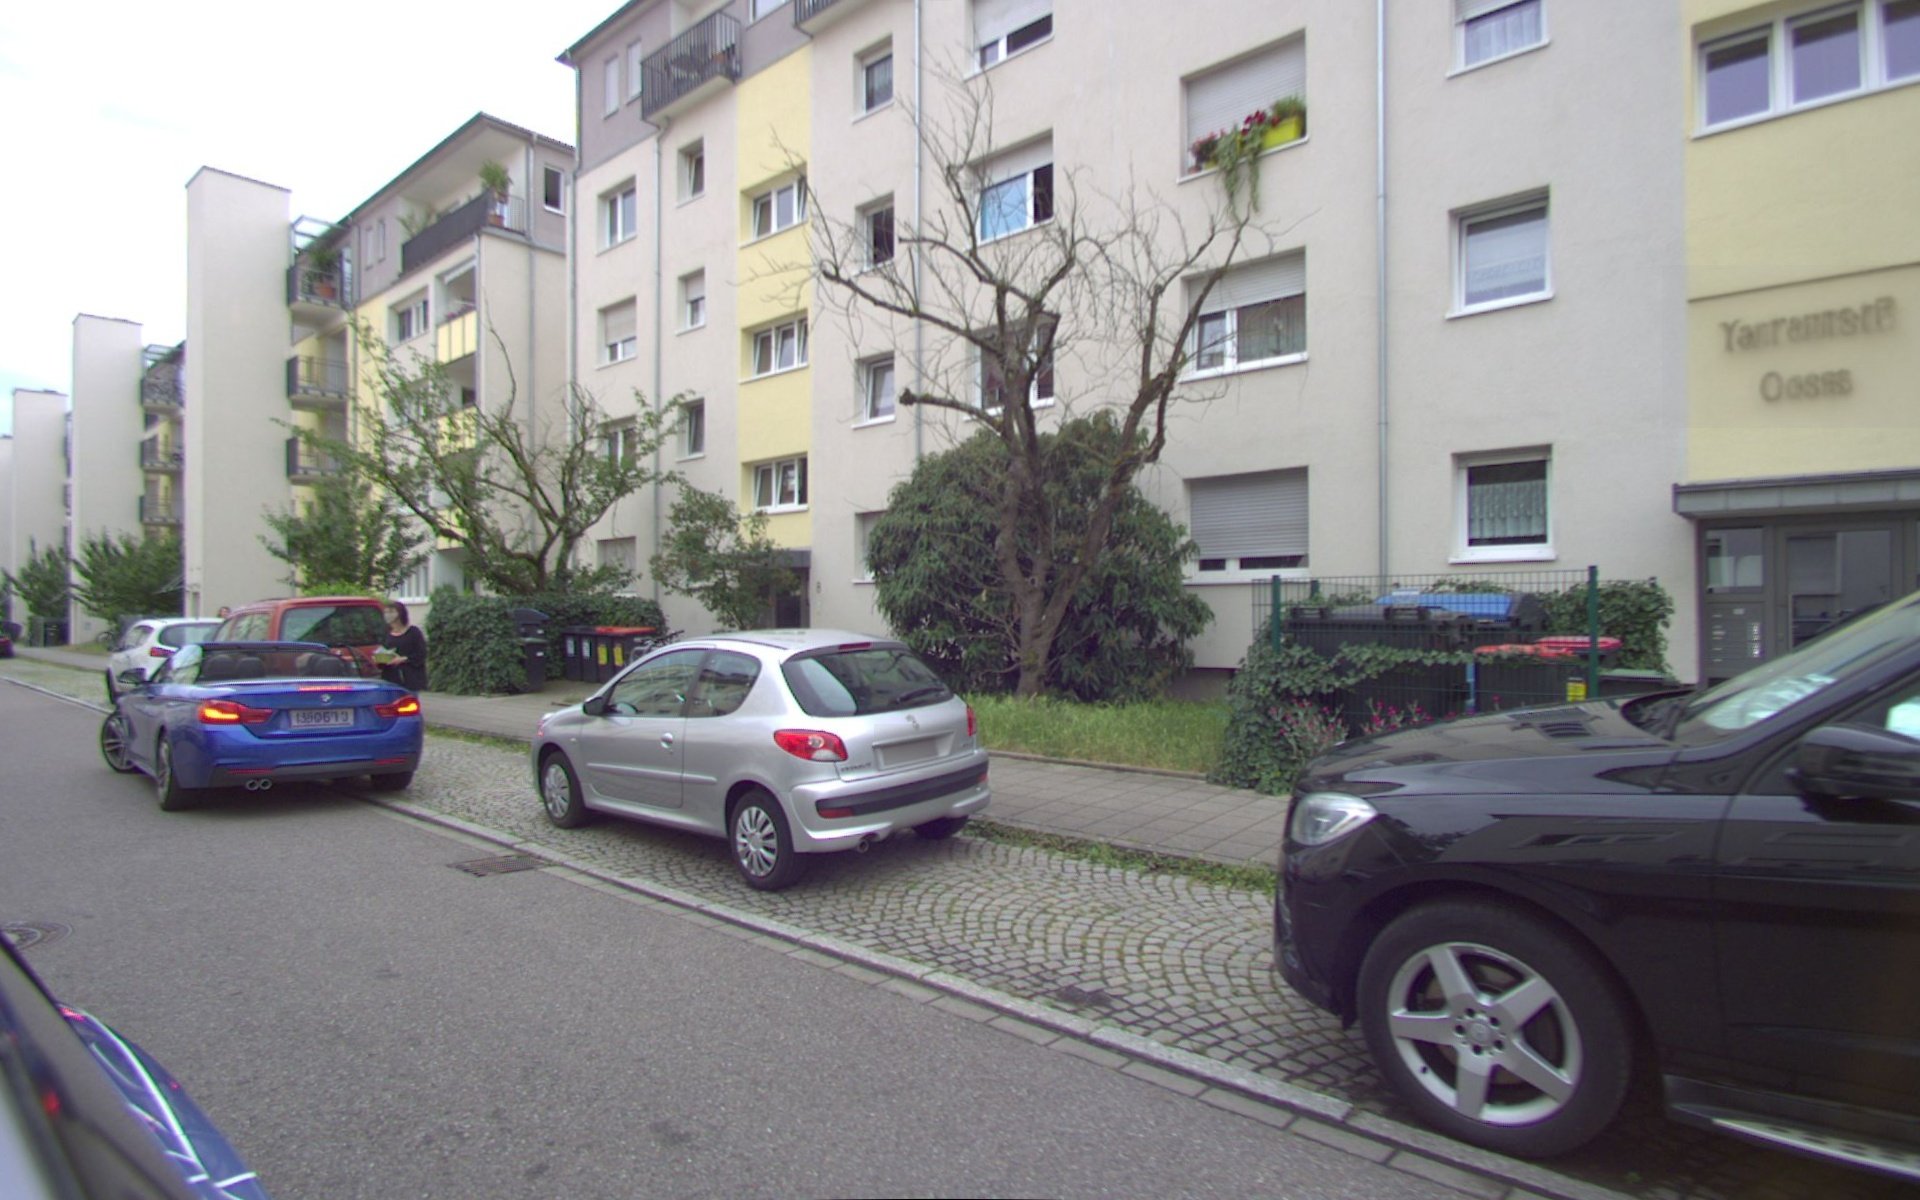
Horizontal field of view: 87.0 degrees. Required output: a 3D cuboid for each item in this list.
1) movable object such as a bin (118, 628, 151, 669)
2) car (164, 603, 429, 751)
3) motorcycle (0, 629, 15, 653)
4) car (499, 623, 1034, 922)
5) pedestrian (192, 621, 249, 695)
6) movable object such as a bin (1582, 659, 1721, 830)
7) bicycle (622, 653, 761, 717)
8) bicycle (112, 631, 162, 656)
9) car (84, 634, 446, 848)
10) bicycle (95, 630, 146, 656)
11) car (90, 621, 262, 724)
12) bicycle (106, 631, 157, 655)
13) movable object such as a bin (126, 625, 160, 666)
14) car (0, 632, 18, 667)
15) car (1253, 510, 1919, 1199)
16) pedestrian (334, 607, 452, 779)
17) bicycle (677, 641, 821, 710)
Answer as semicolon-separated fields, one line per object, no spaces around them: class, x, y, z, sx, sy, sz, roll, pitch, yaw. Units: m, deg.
movable object such as a bin;-30.271;1.765;37.107;1.288;1.440;0.794;-2;-1;44
car;-9.557;0.984;14.445;4.357;1.784;1.937;-2;-1;39
motorcycle;-55.271;2.361;58.380;2.419;1.317;0.860;-2;-1;42
car;-1.517;0.942;7.119;3.784;1.476;1.726;-2;0;41
pedestrian;-16.597;1.281;22.717;0.945;1.622;0.792;-2;-2;37
movable object such as a bin;4.269;0.854;6.249;0.635;0.962;0.545;-2;-3;41
bicycle;-4.133;1.263;15.409;2.754;0.854;0.565;-1;-2;40
bicycle;-38.801;2.031;47.735;1.812;1.127;0.571;0;-2;-43
car;-6.603;1.075;9.393;4.500;1.462;1.825;-2;-1;43
bicycle;-40.264;2.053;48.562;0.604;1.127;1.816;-2;-1;40
car;-14.004;1.203;18.013;3.868;1.582;1.703;-2;0;41
bicycle;-39.566;2.049;48.341;0.570;1.127;1.814;-2;-2;43
movable object such as a bin;-29.231;1.616;36.197;1.289;1.440;0.794;-2;-1;45
car;-39.657;2.018;40.883;4.358;1.333;1.851;-2;0;40
car;3.263;0.633;2.509;4.473;1.753;1.875;-2;1;41
pedestrian;-5.925;0.944;10.601;0.791;1.714;0.737;-1;-2;24
bicycle;-3.459;1.189;16.402;2.754;1.006;0.769;-1;-2;40
